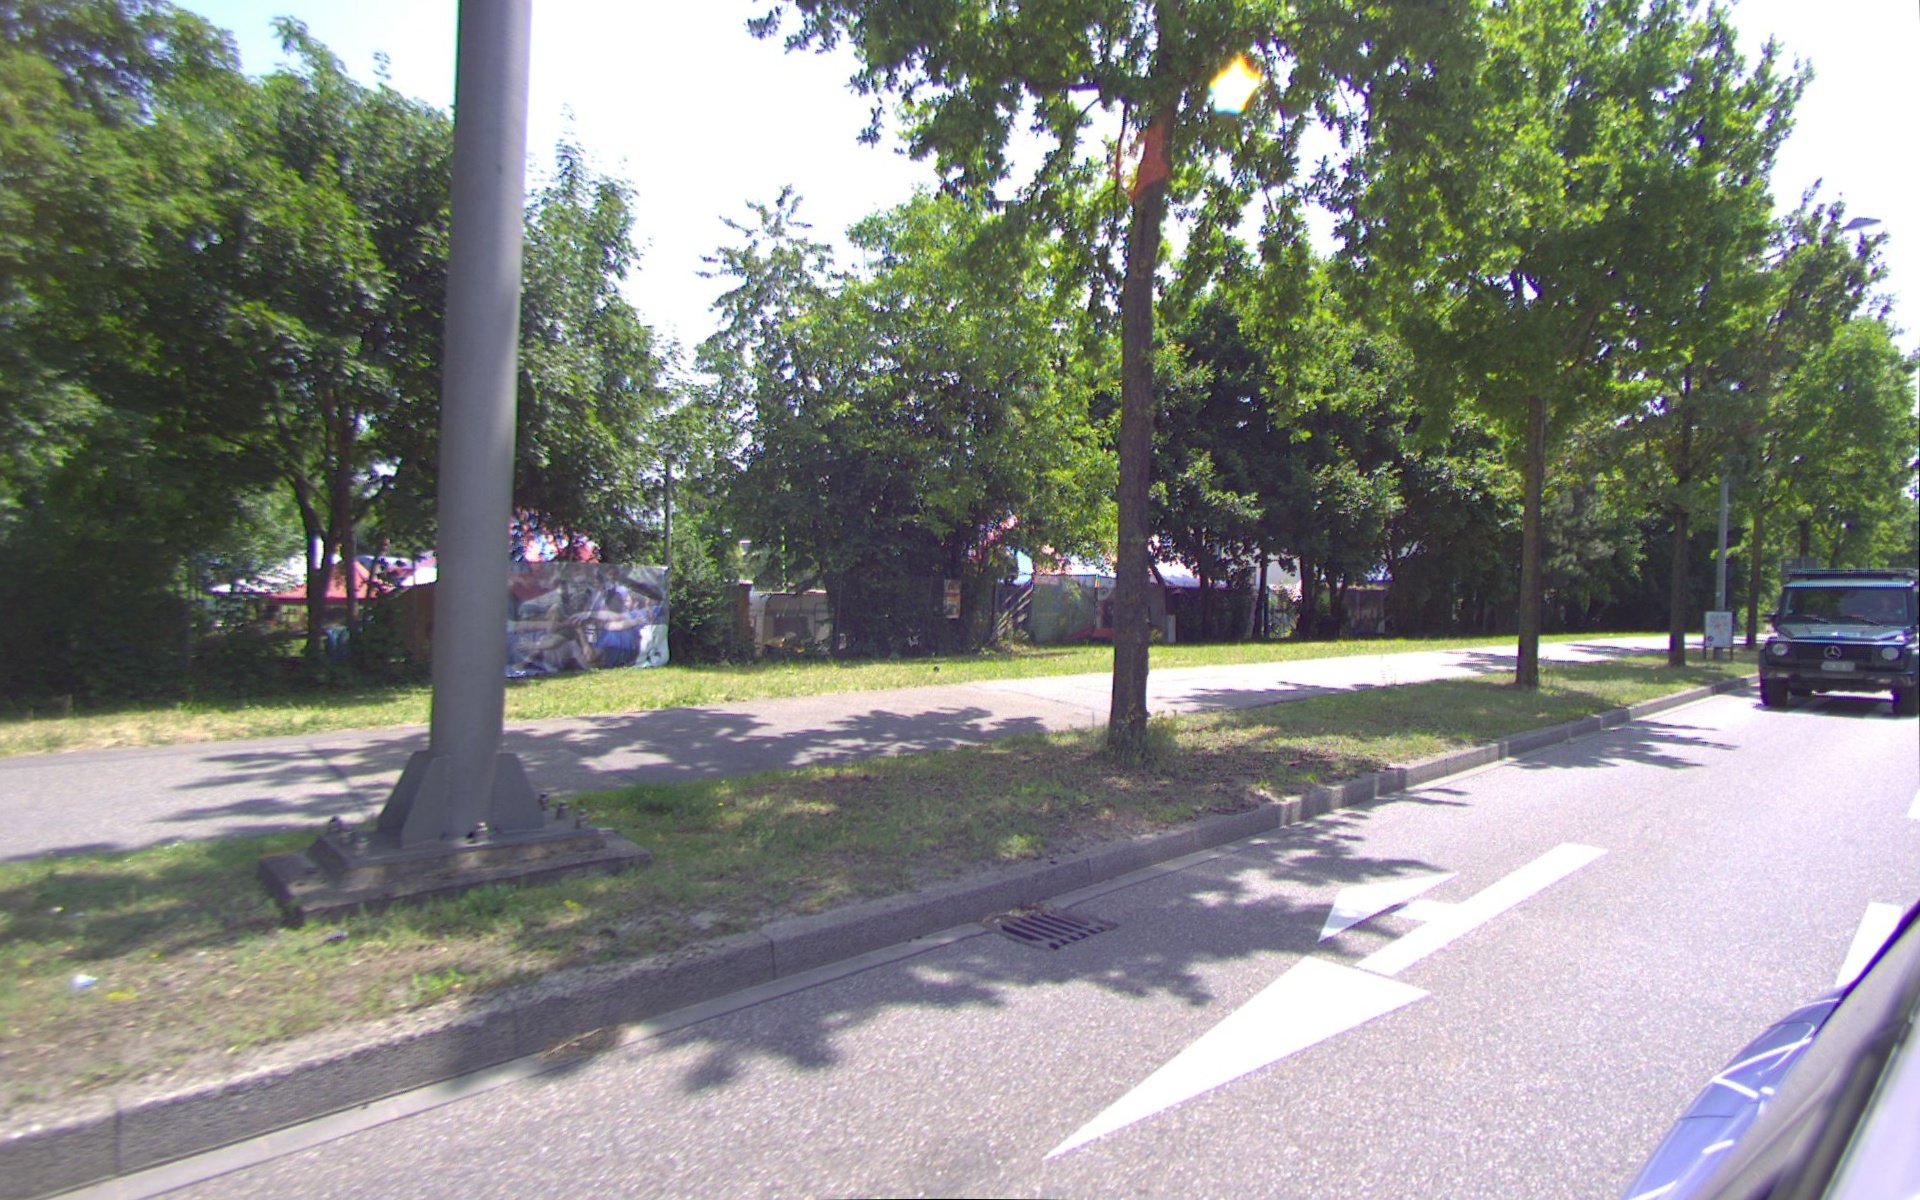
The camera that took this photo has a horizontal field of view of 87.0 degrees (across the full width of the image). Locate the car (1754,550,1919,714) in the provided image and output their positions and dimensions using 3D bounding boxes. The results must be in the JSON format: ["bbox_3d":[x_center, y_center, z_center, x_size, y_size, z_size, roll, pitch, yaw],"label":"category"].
[{"bbox_3d":[13.794,0.426,15.589,4.482,2.181,1.838,1,1,-44],"label":"car"}]
